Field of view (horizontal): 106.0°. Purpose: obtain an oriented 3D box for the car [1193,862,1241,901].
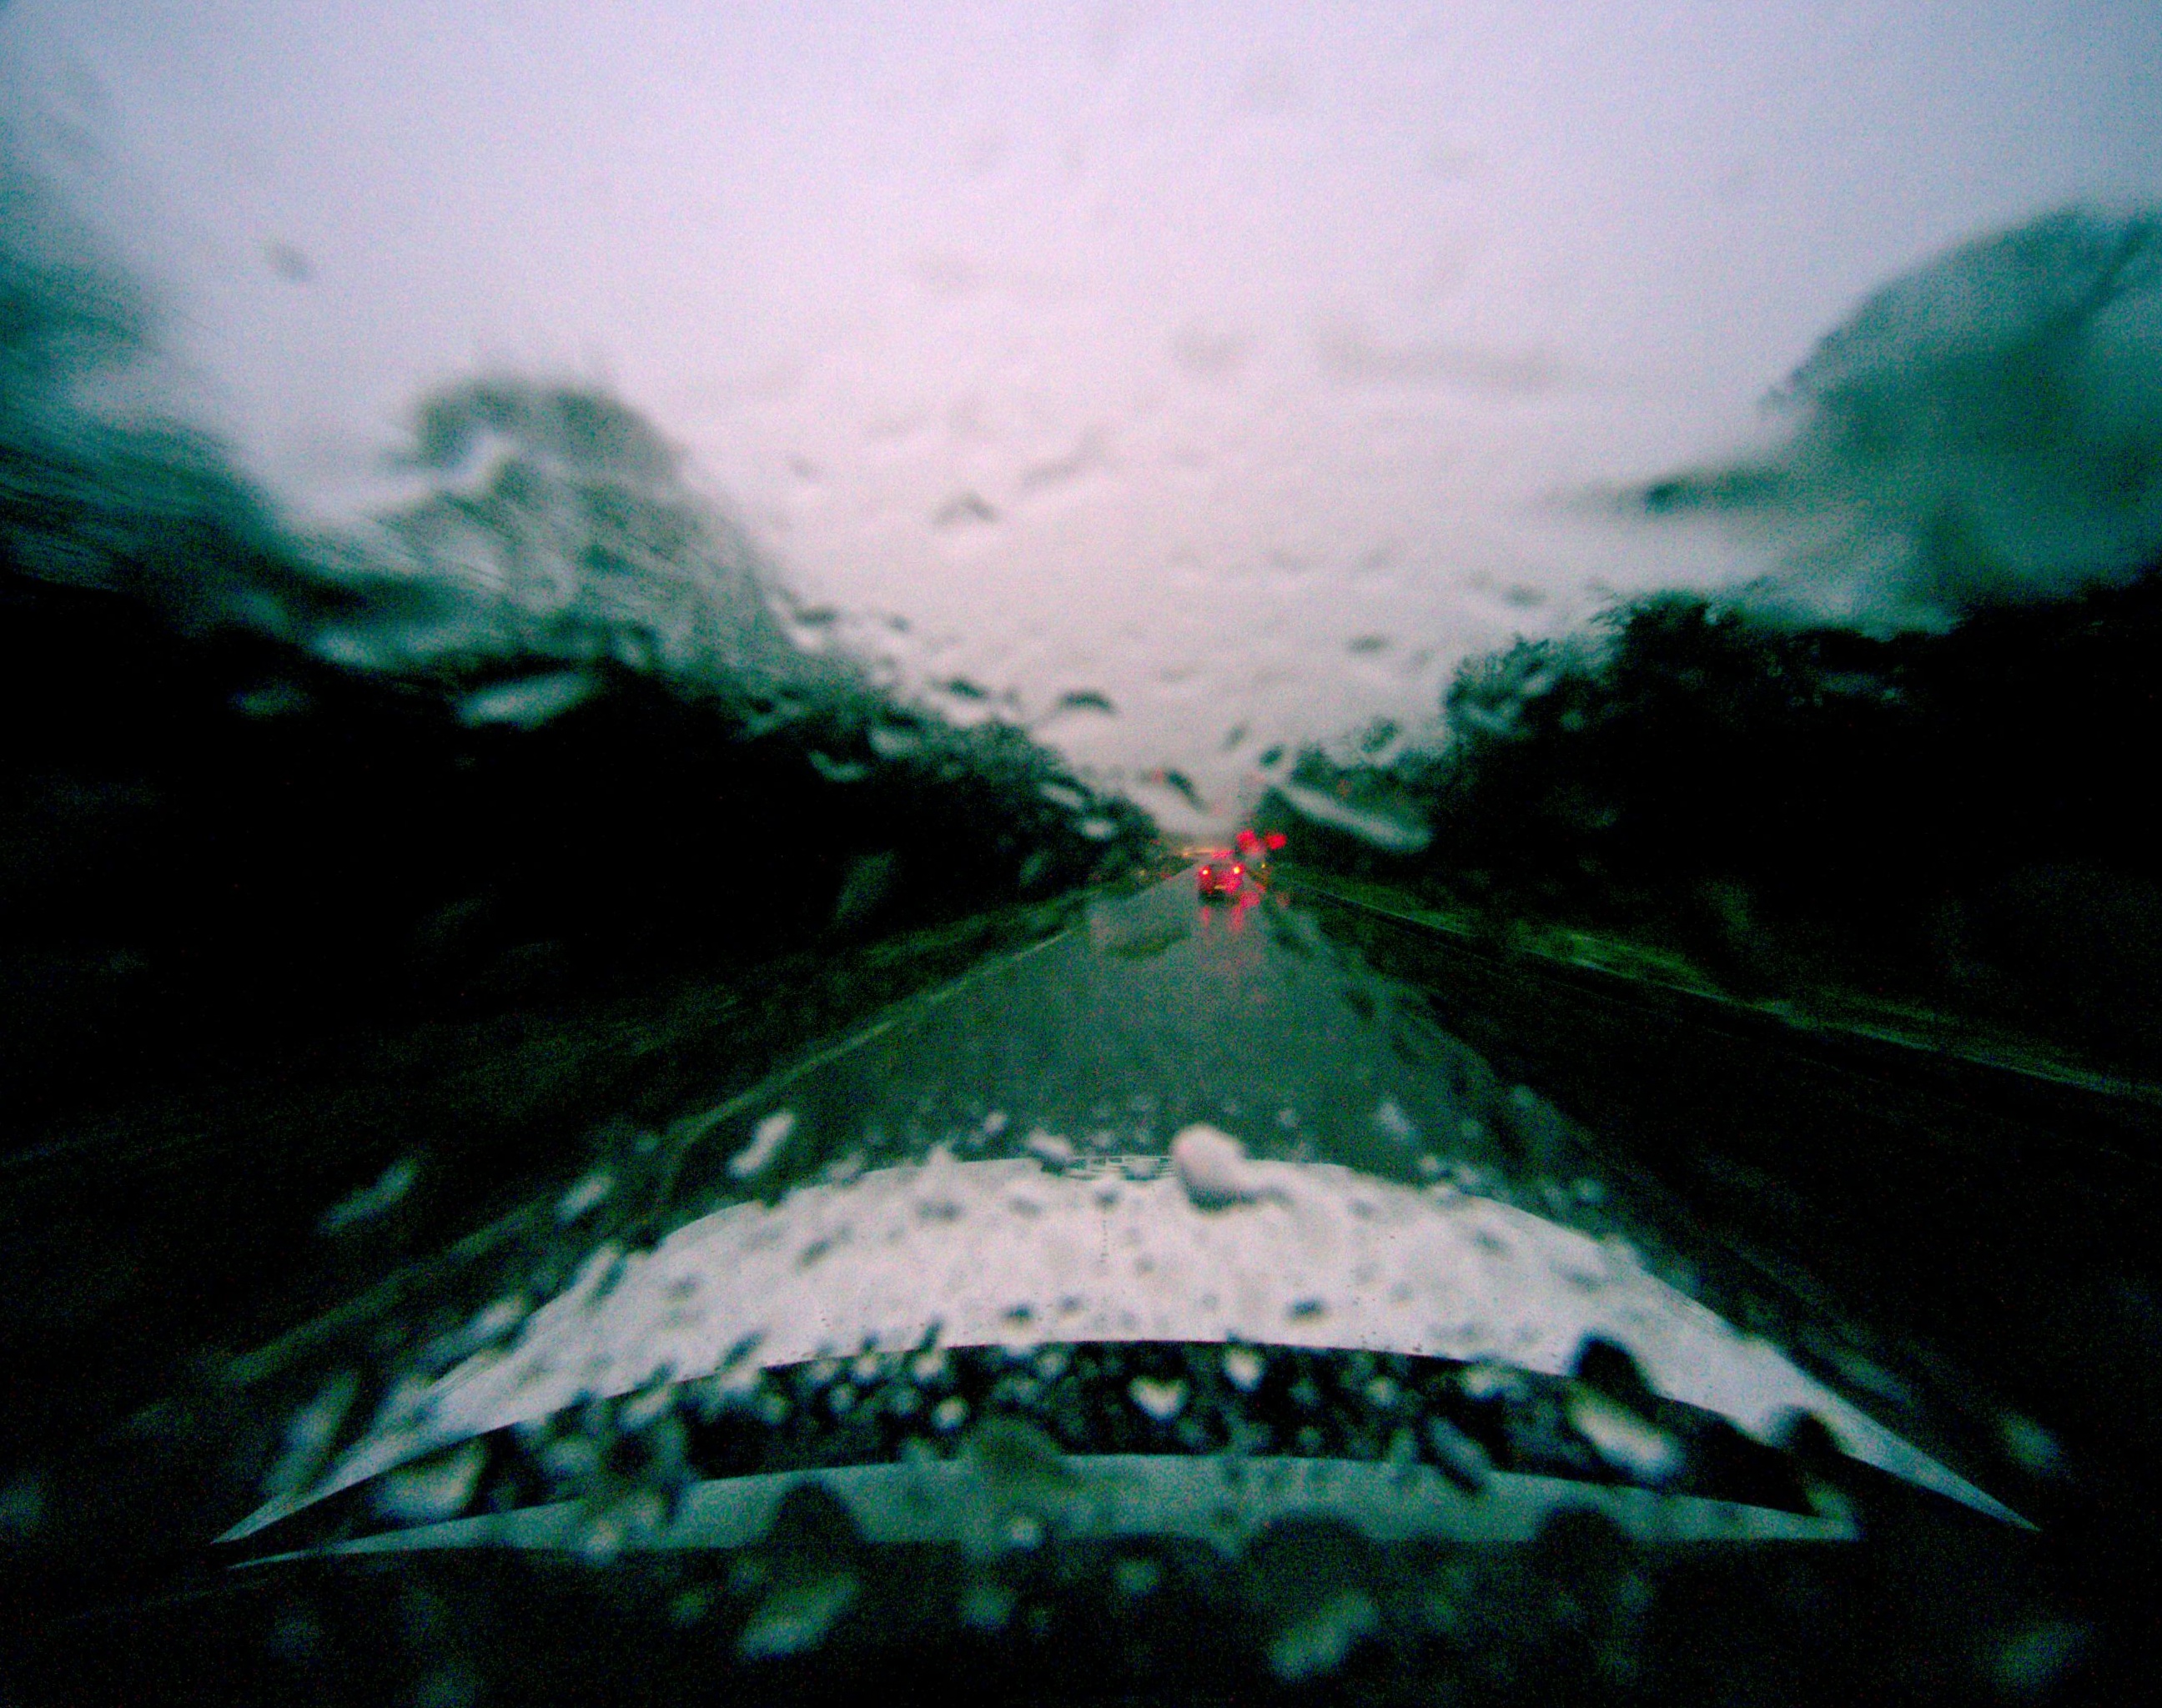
[{"bbox_3d":[5.429,1.076,32.600,1.722,1.429,3.775,-2,-1,9],"label":"car"}]
